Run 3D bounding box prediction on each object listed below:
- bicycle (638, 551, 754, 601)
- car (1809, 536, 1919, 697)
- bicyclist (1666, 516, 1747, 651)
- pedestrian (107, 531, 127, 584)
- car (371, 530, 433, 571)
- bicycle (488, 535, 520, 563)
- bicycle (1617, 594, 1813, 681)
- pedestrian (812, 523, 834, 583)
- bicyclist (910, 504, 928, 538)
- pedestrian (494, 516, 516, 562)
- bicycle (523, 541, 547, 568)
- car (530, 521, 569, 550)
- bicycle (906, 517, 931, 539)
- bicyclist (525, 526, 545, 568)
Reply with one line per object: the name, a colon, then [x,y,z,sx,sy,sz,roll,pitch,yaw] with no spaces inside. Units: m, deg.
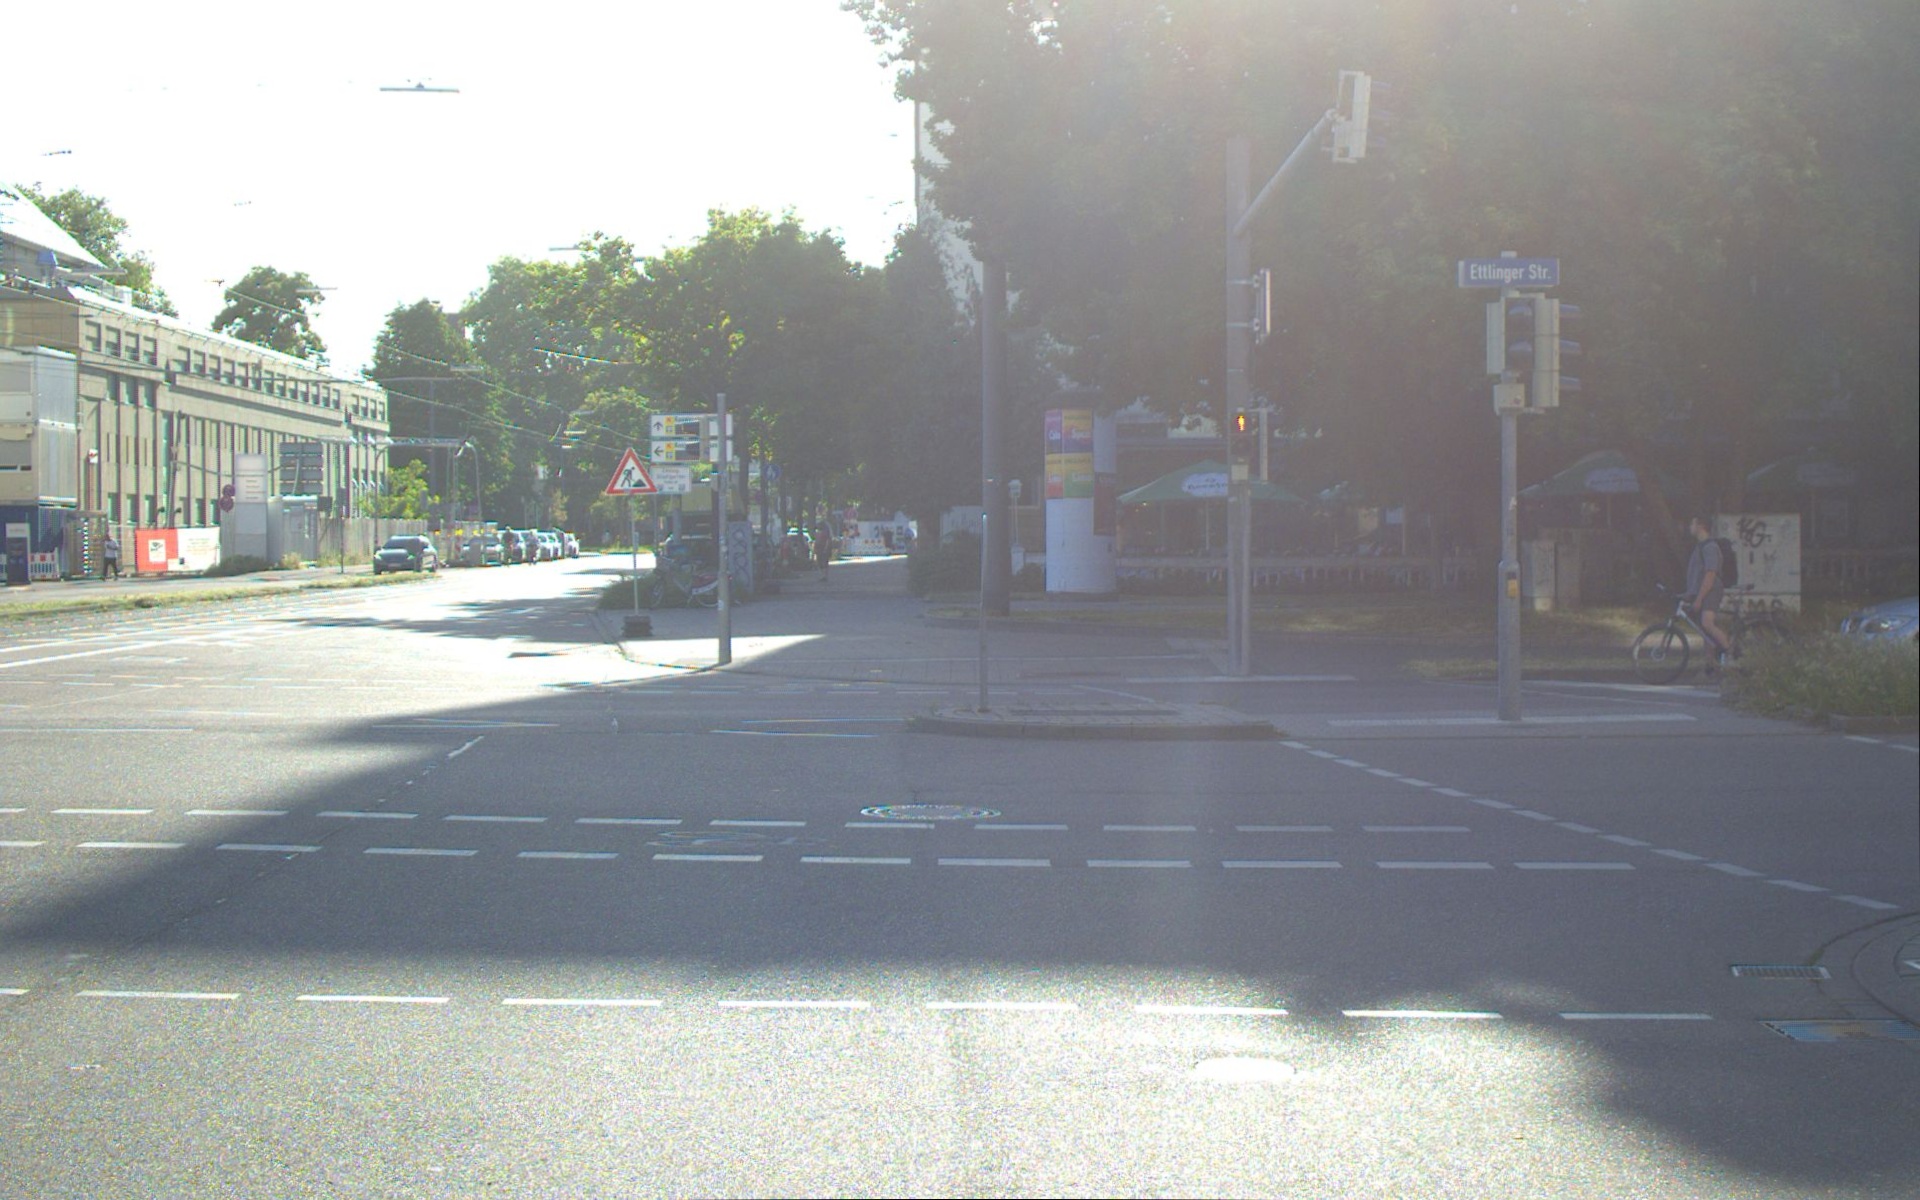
bicycle: [-5.168,-0.475,67.212,2.244,0.937,0.654,-1,1,-5]
car: [10.840,0.173,33.569,4.576,1.511,2.000,1,0,0]
bicyclist: [7.894,-0.177,36.375,0.747,1.401,0.702,1,0,6]
pedestrian: [-30.141,-1.523,122.876,0.588,1.883,0.478,1,0,-1]
car: [-22.005,-1.965,135.760,1.993,1.593,4.001,-1,1,-3]
bicycle: [-20.217,-2.273,152.555,0.751,1.201,3.107,1,1,5]
bicycle: [7.976,0.386,36.376,1.944,0.886,0.718,1,0,6]
pedestrian: [-3.889,-1.332,97.635,0.576,1.683,0.585,-1,1,-8]
bicyclist: [-2.408,-4.604,200.495,0.890,2.007,0.749,1,0,-12]
pedestrian: [-20.211,-2.707,152.620,0.751,2.056,1.050,1,0,5]
bicycle: [-19.556,-2.083,158.252,0.750,1.201,3.108,1,1,-2]
car: [-23.235,-3.637,194.689,1.993,1.638,4.001,-1,1,-4]
bicycle: [-2.416,-4.203,200.459,0.890,1.215,2.794,1,1,-12]
bicyclist: [-19.543,-2.430,158.129,0.750,1.913,1.215,1,0,-2]
